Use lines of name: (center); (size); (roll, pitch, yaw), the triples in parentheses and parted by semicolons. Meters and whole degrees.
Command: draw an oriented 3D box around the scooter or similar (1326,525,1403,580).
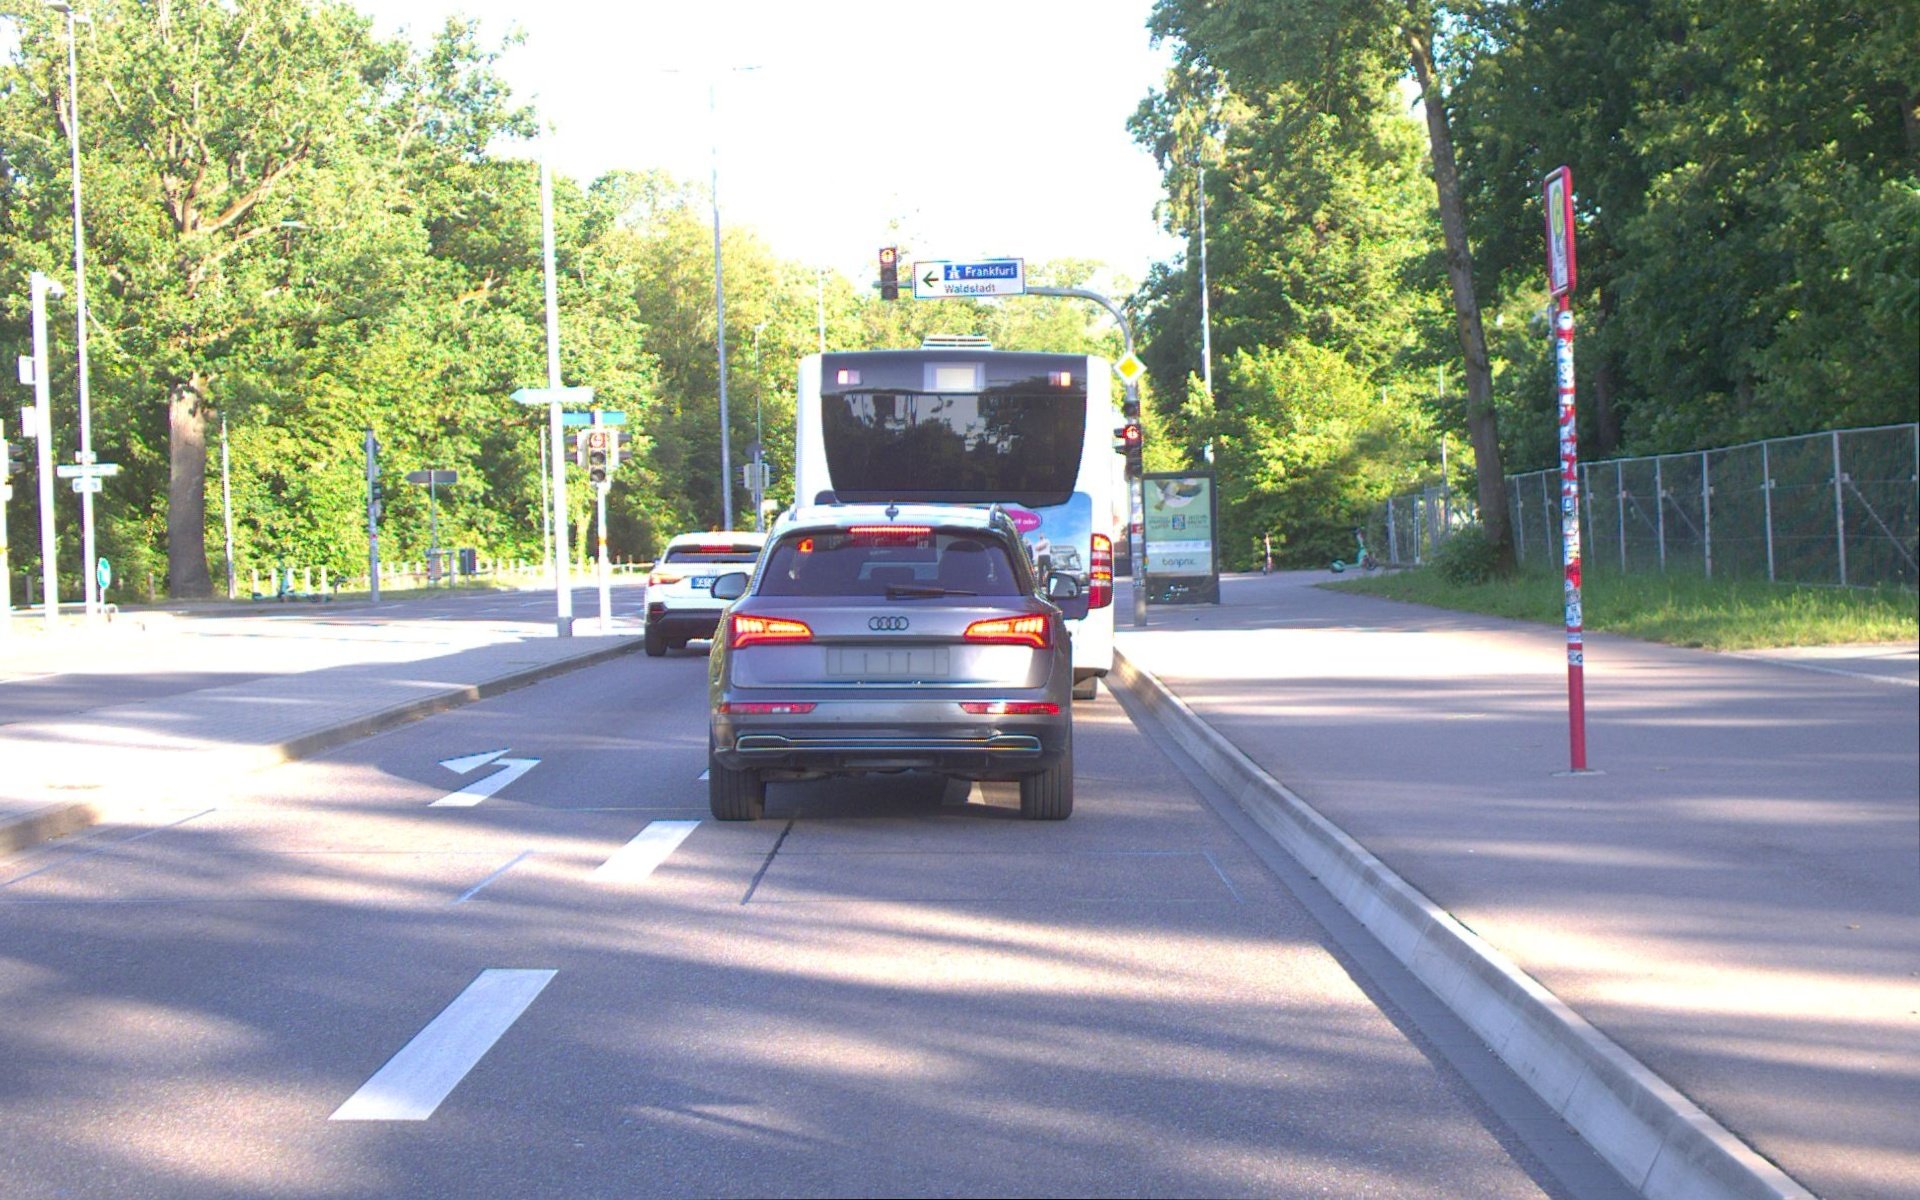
scooter or similar: (11.094, -1.309, 94.300); (2.015, 1.439, 0.606); (-3, 1, -24)

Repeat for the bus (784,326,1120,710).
bus: (-0.034, -0.689, 31.362); (2.595, 2.978, 9.327); (0, 1, 0)

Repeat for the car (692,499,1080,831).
car: (-0.351, 0.275, 18.831); (1.898, 1.626, 4.000); (0, 1, 0)

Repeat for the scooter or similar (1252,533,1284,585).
scooter or similar: (8.684, -1.153, 96.843); (0.508, 1.439, 2.023); (-2, 1, -5)

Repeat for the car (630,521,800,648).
car: (-3.073, -0.233, 43.872); (1.836, 1.513, 4.000); (-1, 1, 0)

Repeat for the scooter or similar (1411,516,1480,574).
scooter or similar: (13.488, -1.522, 95.542); (0.539, 1.562, 2.022); (-3, 1, -39)
